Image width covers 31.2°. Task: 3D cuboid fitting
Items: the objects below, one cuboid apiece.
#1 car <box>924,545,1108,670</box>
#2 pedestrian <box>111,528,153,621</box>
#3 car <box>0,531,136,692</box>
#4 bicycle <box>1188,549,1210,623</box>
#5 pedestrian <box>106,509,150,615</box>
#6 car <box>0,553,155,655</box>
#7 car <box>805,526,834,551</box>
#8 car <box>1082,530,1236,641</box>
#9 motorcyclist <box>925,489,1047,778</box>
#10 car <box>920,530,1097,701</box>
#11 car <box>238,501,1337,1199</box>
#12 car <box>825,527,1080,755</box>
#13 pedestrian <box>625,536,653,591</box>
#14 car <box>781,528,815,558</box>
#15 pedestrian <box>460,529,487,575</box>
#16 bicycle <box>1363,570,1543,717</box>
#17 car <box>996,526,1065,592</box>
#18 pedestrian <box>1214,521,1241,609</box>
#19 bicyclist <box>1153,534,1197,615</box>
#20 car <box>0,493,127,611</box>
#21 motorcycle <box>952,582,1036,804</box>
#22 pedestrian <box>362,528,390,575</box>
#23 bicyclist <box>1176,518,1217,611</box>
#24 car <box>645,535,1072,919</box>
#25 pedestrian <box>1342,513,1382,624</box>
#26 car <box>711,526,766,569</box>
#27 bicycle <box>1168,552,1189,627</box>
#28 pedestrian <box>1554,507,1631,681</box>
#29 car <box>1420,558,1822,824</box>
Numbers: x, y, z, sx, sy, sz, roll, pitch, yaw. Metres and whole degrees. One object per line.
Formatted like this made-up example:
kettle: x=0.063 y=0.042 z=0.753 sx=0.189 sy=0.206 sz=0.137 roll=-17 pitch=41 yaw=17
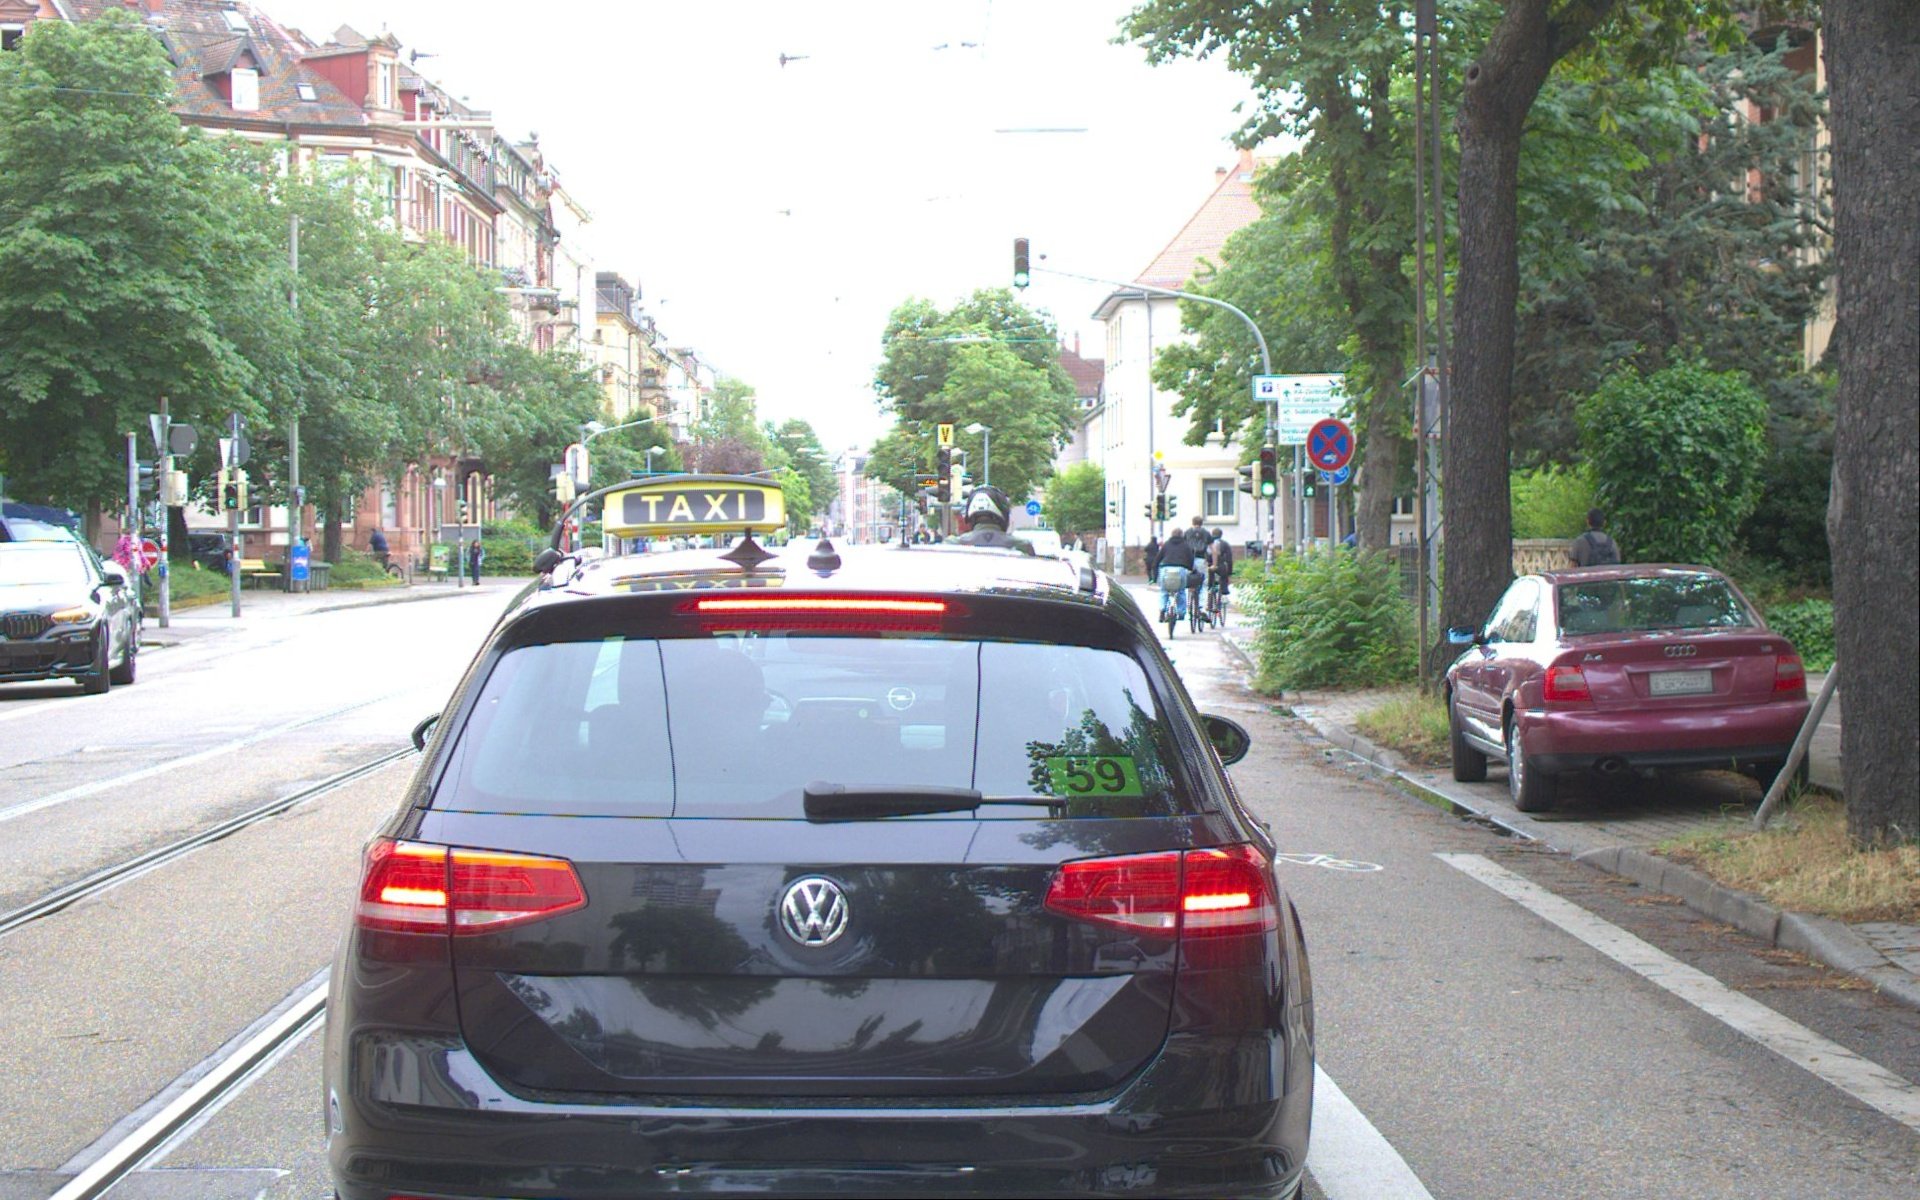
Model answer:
car: x=0.726 y=0.056 z=41.689 sx=1.892 sy=1.403 sz=3.999 roll=-1 pitch=1 yaw=6
pedestrian: x=-14.955 y=-0.468 z=62.092 sx=0.589 sy=1.657 sz=0.839 roll=0 pitch=1 yaw=-4
car: x=-10.280 y=0.105 z=37.922 sx=1.882 sy=1.606 sz=4.889 roll=-3 pitch=1 yaw=-9
bicycle: x=4.052 y=-0.249 z=58.188 sx=0.297 sy=1.219 sz=1.430 roll=0 pitch=1 yaw=7
pedestrian: x=-14.470 y=-0.667 z=59.802 sx=0.623 sy=1.836 sz=0.610 roll=0 pitch=1 yaw=-3
car: x=-13.042 y=0.026 z=50.420 sx=1.648 sy=1.357 sz=4.130 roll=2 pitch=1 yaw=-3
car: x=-9.017 y=-3.951 z=221.091 sx=1.721 sy=1.617 sz=3.864 roll=-1 pitch=1 yaw=-1
car: x=2.934 y=-0.227 z=51.437 sx=1.993 sy=1.572 sz=4.000 roll=1 pitch=1 yaw=-1
motorcyclist: x=0.149 y=0.187 z=20.548 sx=0.703 sy=1.686 sz=0.804 roll=0 pitch=1 yaw=-1
car: x=0.427 y=0.125 z=33.523 sx=1.606 sy=1.550 sz=3.578 roll=1 pitch=1 yaw=-1
car: x=-0.294 y=0.576 z=7.402 sx=1.723 sy=1.541 sz=4.000 roll=0 pitch=1 yaw=-1
car: x=-0.072 y=0.236 z=25.326 sx=1.723 sy=1.541 sz=4.000 roll=0 pitch=1 yaw=-1
pedestrian: x=-8.956 y=-1.018 z=95.918 sx=0.714 sy=1.515 sz=0.590 roll=0 pitch=1 yaw=1
car: x=-8.834 y=-3.108 z=187.716 sx=1.721 sy=1.617 sz=3.864 roll=-1 pitch=1 yaw=-1
pedestrian: x=-16.128 y=-1.576 z=113.892 sx=0.589 sy=1.515 sz=0.647 roll=0 pitch=1 yaw=35
bicycle: x=4.129 y=0.355 z=28.699 sx=0.433 sy=1.194 sz=1.899 roll=1 pitch=0 yaw=45
car: x=2.194 y=-1.292 z=108.139 sx=2.033 sy=2.007 sz=4.000 roll=1 pitch=1 yaw=-1
pedestrian: x=4.759 y=-0.618 z=61.192 sx=0.450 sy=1.556 sz=0.479 roll=0 pitch=1 yaw=7
bicyclist: x=3.457 y=-0.410 z=55.344 sx=0.651 sy=1.297 sz=0.695 roll=0 pitch=1 yaw=7
car: x=-20.019 y=-1.037 z=72.946 sx=2.180 sy=2.409 sz=5.377 roll=-1 pitch=1 yaw=-43
motorcycle: x=0.192 y=0.526 z=20.554 sx=0.446 sy=1.231 sz=1.907 roll=0 pitch=1 yaw=-1
pedestrian: x=-18.708 y=-1.550 z=110.106 sx=0.589 sy=1.515 sz=0.647 roll=0 pitch=1 yaw=35
bicyclist: x=4.006 y=-0.602 z=58.196 sx=0.651 sy=1.563 sz=0.695 roll=0 pitch=1 yaw=6
car: x=-0.433 y=0.476 z=15.893 sx=1.723 sy=1.541 sz=4.000 roll=0 pitch=1 yaw=-1
pedestrian: x=6.741 y=-0.524 z=57.623 sx=0.514 sy=1.824 sz=0.417 roll=-3 pitch=1 yaw=16
car: x=-9.434 y=-2.244 z=146.730 sx=1.993 sy=1.784 sz=4.000 roll=1 pitch=1 yaw=1
bicycle: x=3.519 y=-0.173 z=55.290 sx=0.252 sy=1.192 sz=1.156 roll=0 pitch=1 yaw=7
pedestrian: x=6.657 y=-0.067 z=36.202 sx=0.632 sy=1.808 sz=0.726 roll=0 pitch=1 yaw=-3
car: x=3.991 y=0.487 z=21.402 sx=1.602 sy=1.394 sz=4.228 roll=-2 pitch=1 yaw=-1
